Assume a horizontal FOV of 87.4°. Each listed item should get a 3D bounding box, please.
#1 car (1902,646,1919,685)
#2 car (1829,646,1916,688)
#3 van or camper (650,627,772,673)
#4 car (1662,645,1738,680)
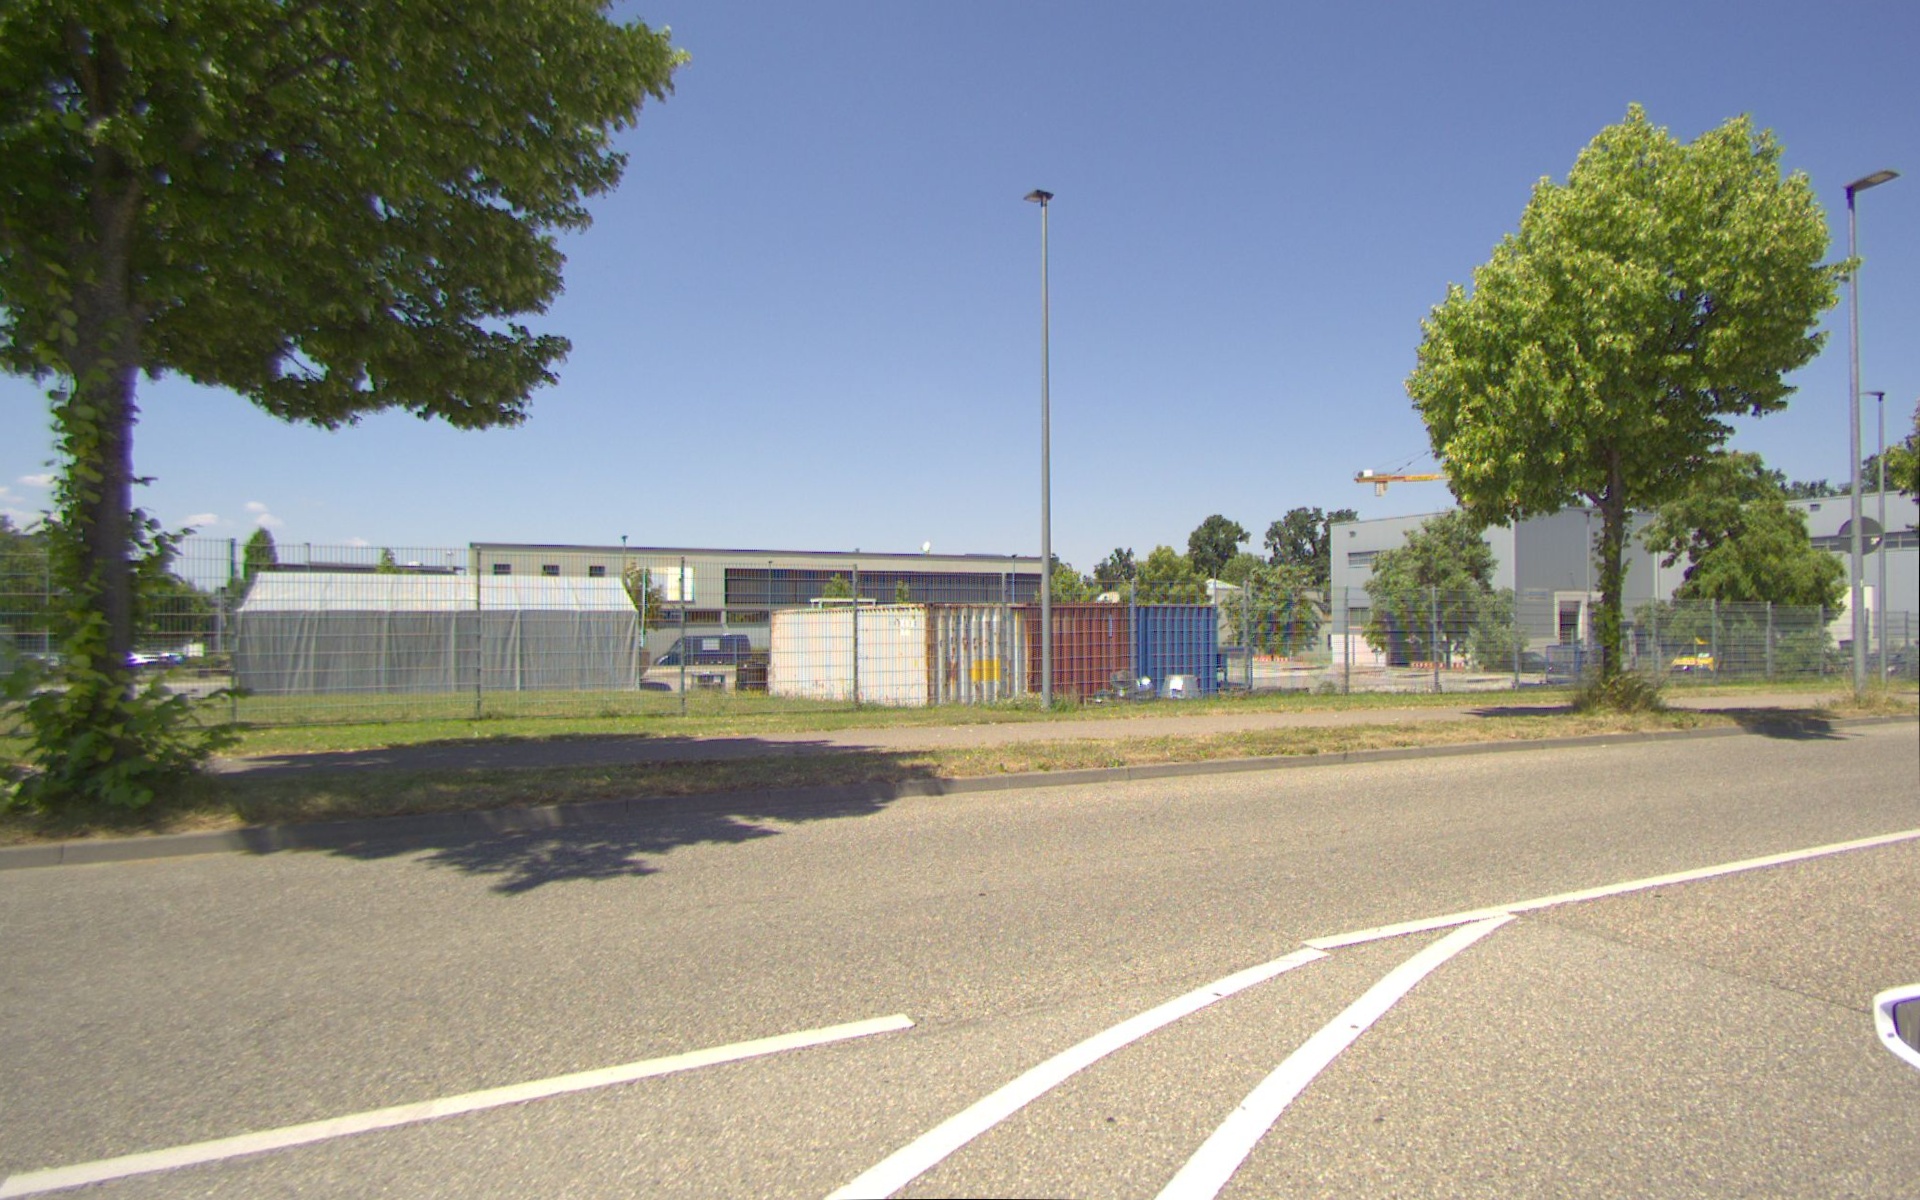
[{"bbox_3d":[44.963,2.905,45.835,3.957,1.572,1.983,-3,-1,-33],"label":"car"},{"bbox_3d":[41.973,3.040,46.177,3.957,1.572,1.983,-3,-1,-33],"label":"car"},{"bbox_3d":[-17.464,3.485,70.739,7.932,2.627,2.190,-3,-1,-29],"label":"van or camper"},{"bbox_3d":[39.818,3.345,54.043,3.957,1.572,1.983,-3,-1,-33],"label":"car"}]
